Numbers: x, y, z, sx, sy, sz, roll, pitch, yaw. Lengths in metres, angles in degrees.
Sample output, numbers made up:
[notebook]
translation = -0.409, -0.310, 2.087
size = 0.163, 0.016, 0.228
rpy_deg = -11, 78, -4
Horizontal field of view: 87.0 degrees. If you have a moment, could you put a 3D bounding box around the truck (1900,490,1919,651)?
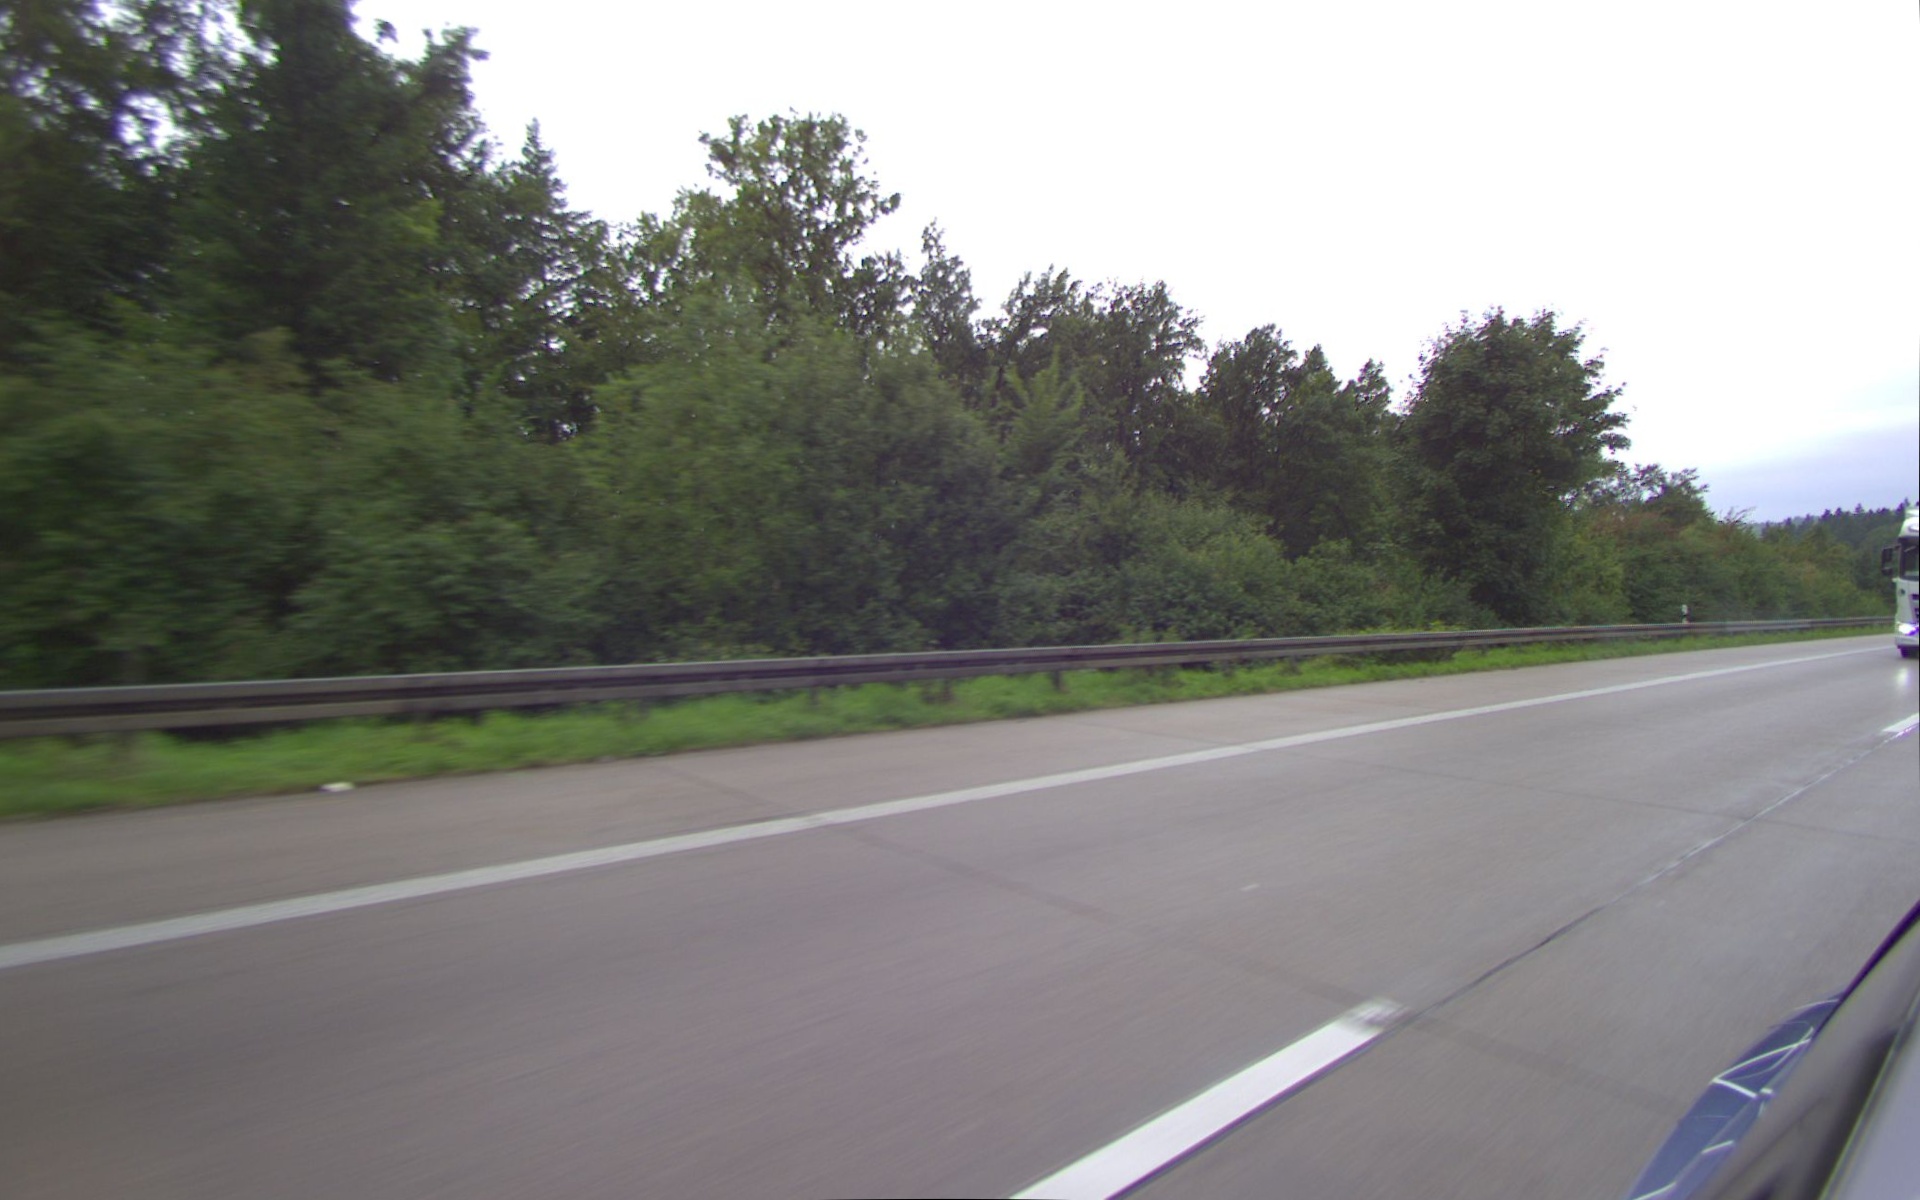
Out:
[truck]
translation = 27.202, -0.748, 26.671
size = 5.647, 4.092, 2.728
rpy_deg = 0, 0, -38
